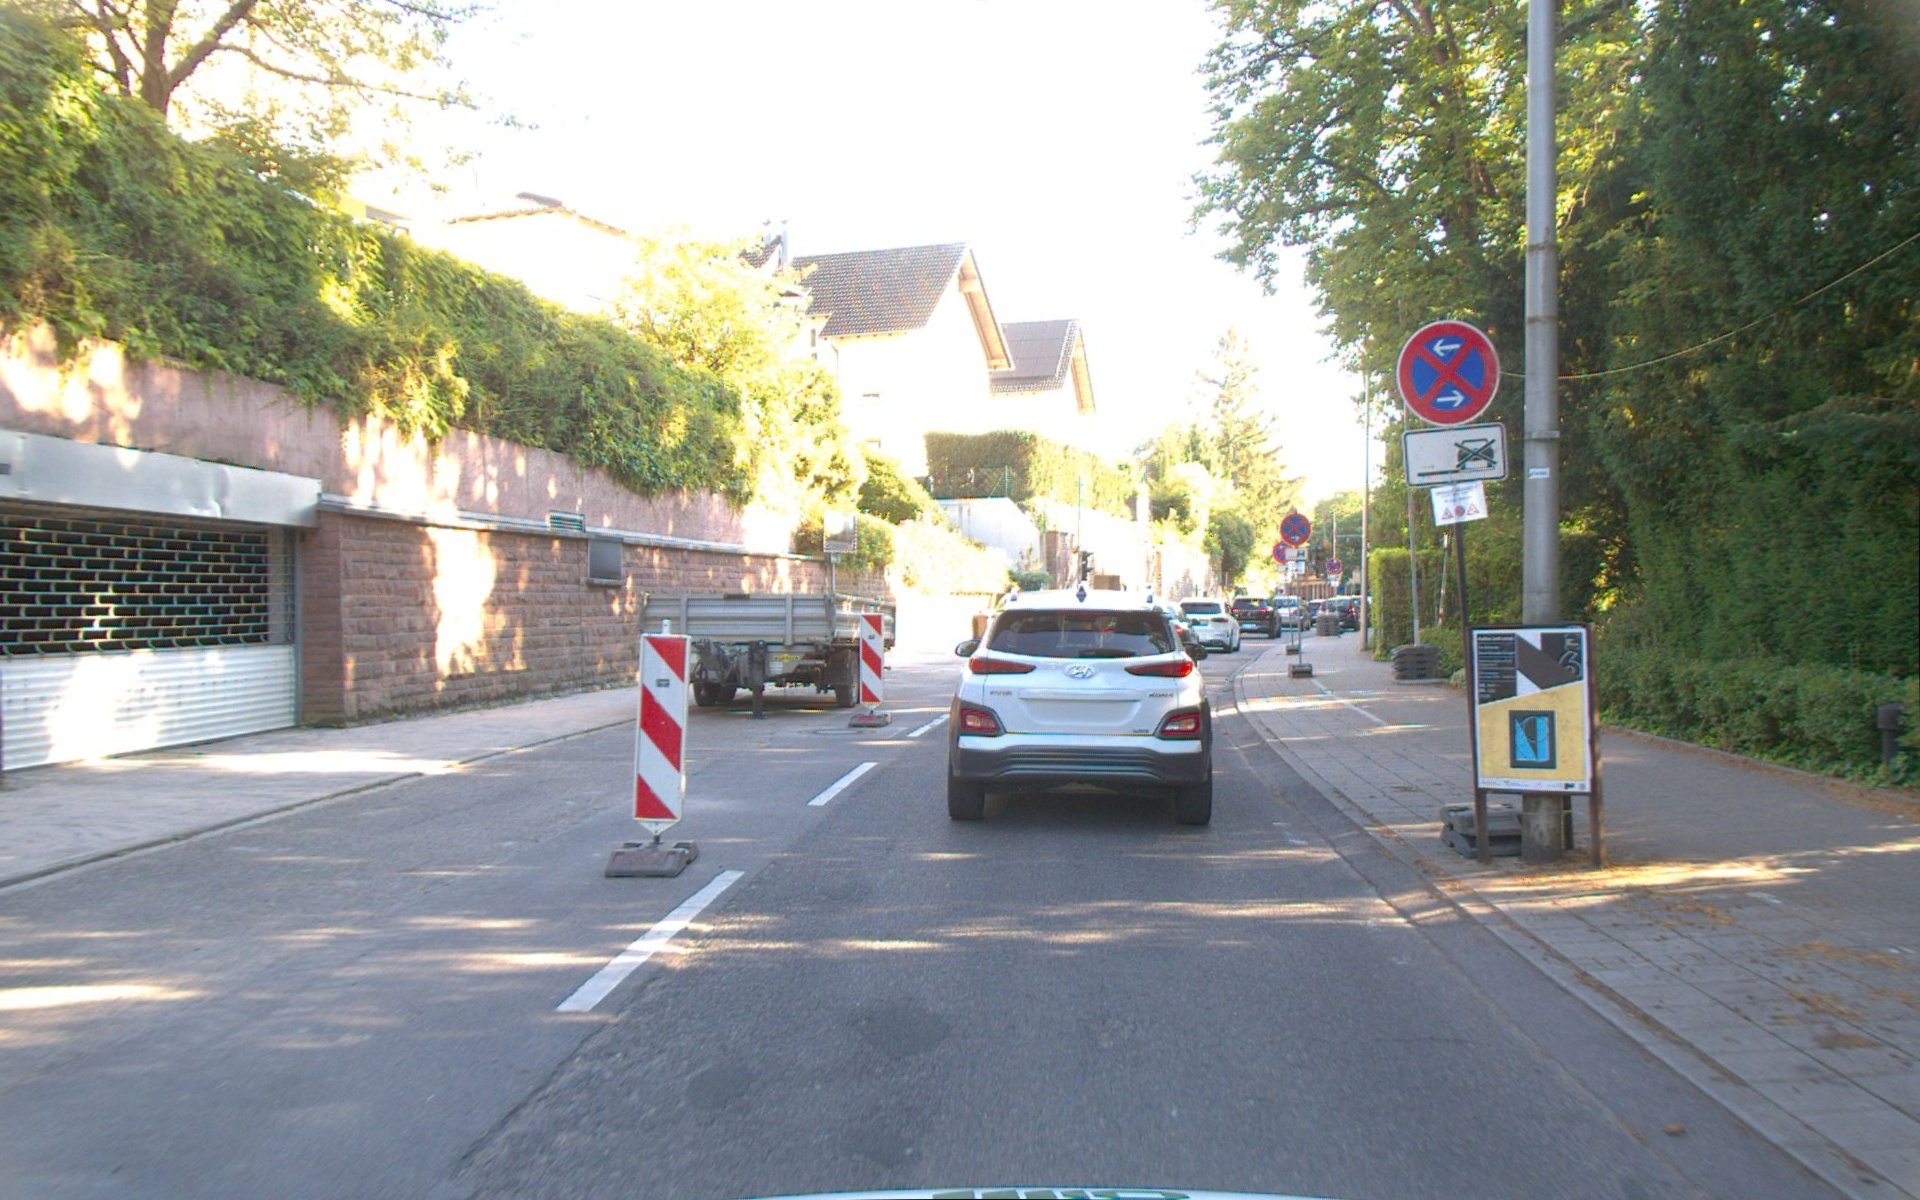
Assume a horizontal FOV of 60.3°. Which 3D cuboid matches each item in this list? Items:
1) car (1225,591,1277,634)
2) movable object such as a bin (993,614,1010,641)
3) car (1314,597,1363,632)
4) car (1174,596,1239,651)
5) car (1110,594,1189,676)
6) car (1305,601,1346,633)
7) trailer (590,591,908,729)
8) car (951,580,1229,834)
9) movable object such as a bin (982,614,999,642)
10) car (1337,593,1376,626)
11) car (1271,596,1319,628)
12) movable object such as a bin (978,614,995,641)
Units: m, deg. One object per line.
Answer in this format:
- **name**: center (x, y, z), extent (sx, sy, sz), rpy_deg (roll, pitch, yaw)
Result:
- **car**: center (11.009, 0.451, 62.463), extent (1.657, 1.560, 3.884), rpy_deg (0, 0, 14)
- **movable object such as a bin**: center (1.409, 0.921, 55.928), extent (0.446, 0.899, 0.501), rpy_deg (0, 0, 16)
- **car**: center (16.606, 0.605, 72.490), extent (1.756, 1.466, 4.002), rpy_deg (-1, 0, 17)
- **car**: center (7.102, 0.645, 47.472), extent (1.537, 1.503, 3.550), rpy_deg (0, 0, 13)
- **car**: center (3.890, 0.674, 33.636), extent (1.479, 1.560, 3.551), rpy_deg (-1, 0, 8)
- **car**: center (19.979, 0.902, 90.393), extent (1.659, 1.530, 3.632), rpy_deg (-3, 0, 20)
- **trailer**: center (-2.498, 0.675, 22.153), extent (2.584, 1.515, 7.123), rpy_deg (1, 0, 7)
- **car**: center (0.989, 0.674, 12.474), extent (1.735, 1.569, 4.002), rpy_deg (1, 0, 5)
- **movable object such as a bin**: center (1.001, 0.922, 54.425), extent (0.446, 0.899, 0.501), rpy_deg (0, 0, 16)
- **car**: center (19.741, 0.449, 82.290), extent (1.618, 1.591, 2.873), rpy_deg (0, 0, 20)
- **car**: center (15.666, 0.536, 77.241), extent (1.658, 1.472, 3.882), rpy_deg (0, 0, 20)
- **movable object such as a bin**: center (0.865, 0.895, 53.974), extent (0.444, 0.848, 0.392), rpy_deg (0, 0, 16)
